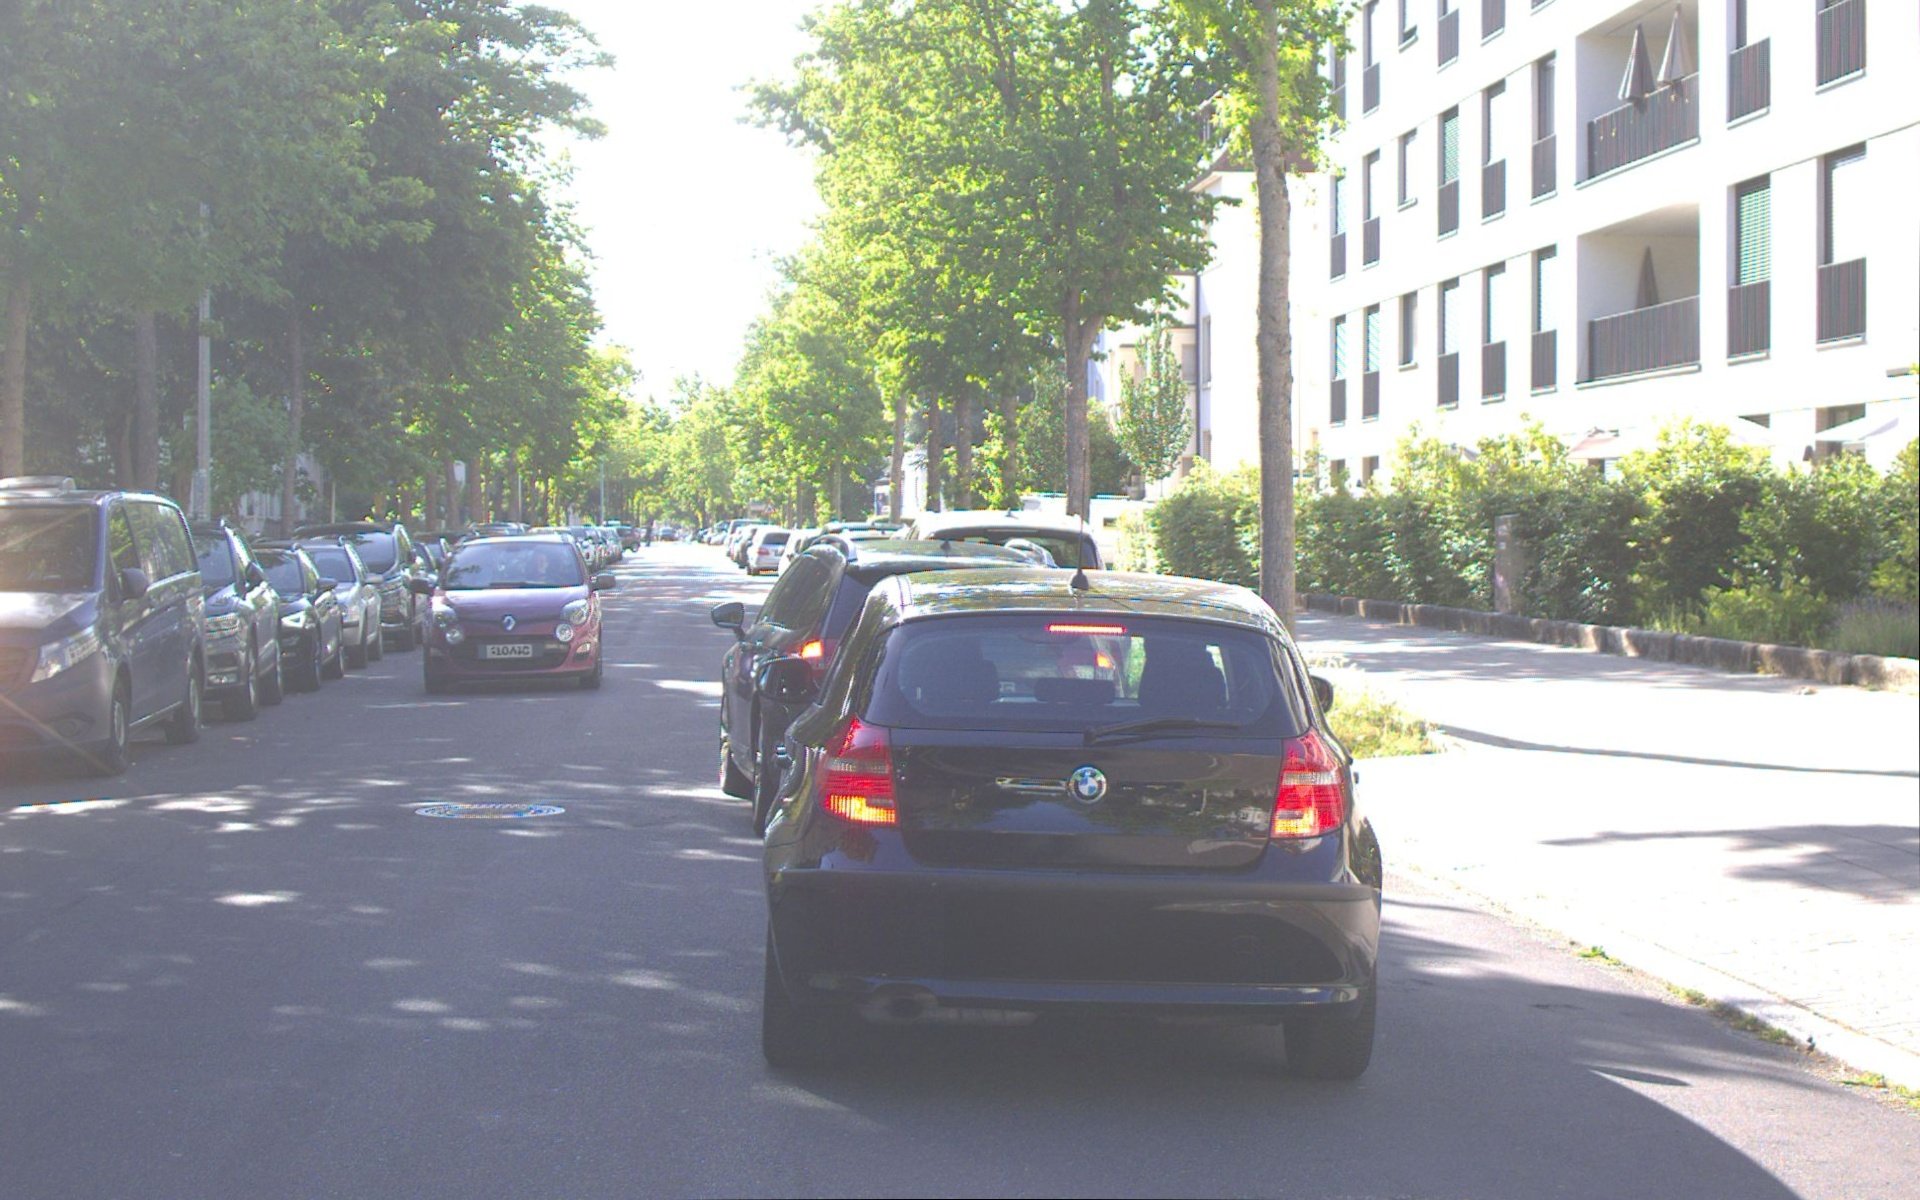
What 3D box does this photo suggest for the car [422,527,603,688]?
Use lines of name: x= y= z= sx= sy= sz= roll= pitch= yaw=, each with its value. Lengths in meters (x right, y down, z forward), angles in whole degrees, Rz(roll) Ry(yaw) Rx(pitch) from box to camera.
car: x=-4.208 y=0.033 z=32.641 sx=1.505 sy=1.421 sz=3.178 roll=-1 pitch=2 yaw=-4

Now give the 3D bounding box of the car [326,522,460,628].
car: x=-8.268 y=-0.394 z=50.373 sx=1.612 sy=1.447 sz=3.866 roll=-1 pitch=1 yaw=-5

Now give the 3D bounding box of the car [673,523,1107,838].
car: x=-0.482 y=0.326 z=18.007 sx=1.649 sy=1.420 sz=4.002 roll=-1 pitch=2 yaw=-10

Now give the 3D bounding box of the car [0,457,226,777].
car: x=-6.258 y=0.059 z=23.050 sx=1.826 sy=1.898 sz=5.143 roll=-2 pitch=1 yaw=-4

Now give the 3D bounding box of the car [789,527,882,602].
car: x=-2.489 y=-0.723 z=67.983 sx=1.720 sy=1.374 sz=3.852 roll=2 pitch=1 yaw=-3

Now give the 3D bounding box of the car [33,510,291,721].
car: x=-6.621 y=0.072 z=28.889 sx=1.612 sy=1.606 sz=4.231 roll=-1 pitch=1 yaw=-7

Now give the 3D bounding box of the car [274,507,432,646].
car: x=-7.840 y=-0.342 z=44.684 sx=1.612 sy=1.673 sz=4.235 roll=-1 pitch=1 yaw=-5

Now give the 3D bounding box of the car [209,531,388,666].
car: x=-7.503 y=-0.053 z=39.258 sx=1.612 sy=1.422 sz=3.726 roll=-1 pitch=1 yaw=-5

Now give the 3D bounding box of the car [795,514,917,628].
car: x=-1.637 y=-0.474 z=52.886 sx=1.720 sy=1.635 sz=3.852 roll=2 pitch=1 yaw=-3

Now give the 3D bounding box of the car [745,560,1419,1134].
car: x=0.215 y=0.609 z=10.509 sx=1.649 sy=1.392 sz=3.412 roll=-1 pitch=2 yaw=-5

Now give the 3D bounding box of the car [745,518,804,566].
car: x=-5.807 y=-1.835 z=107.927 sx=1.721 sy=1.475 sz=3.851 roll=-1 pitch=1 yaw=-1

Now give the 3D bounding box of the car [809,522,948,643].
car: x=-1.152 y=-0.278 z=46.899 sx=1.720 sy=1.523 sz=4.001 roll=2 pitch=1 yaw=-3

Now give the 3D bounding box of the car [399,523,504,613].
car: x=-9.115 y=-0.606 z=61.866 sx=1.612 sy=1.537 sz=3.866 roll=-1 pitch=1 yaw=-5

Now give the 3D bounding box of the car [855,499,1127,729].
car: x=0.157 y=0.072 z=26.810 sx=1.848 sy=1.625 sz=4.411 roll=1 pitch=1 yaw=-3

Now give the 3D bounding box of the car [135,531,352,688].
car: x=-7.055 y=0.045 z=34.182 sx=1.612 sy=1.422 sz=4.059 roll=-1 pitch=1 yaw=-5
